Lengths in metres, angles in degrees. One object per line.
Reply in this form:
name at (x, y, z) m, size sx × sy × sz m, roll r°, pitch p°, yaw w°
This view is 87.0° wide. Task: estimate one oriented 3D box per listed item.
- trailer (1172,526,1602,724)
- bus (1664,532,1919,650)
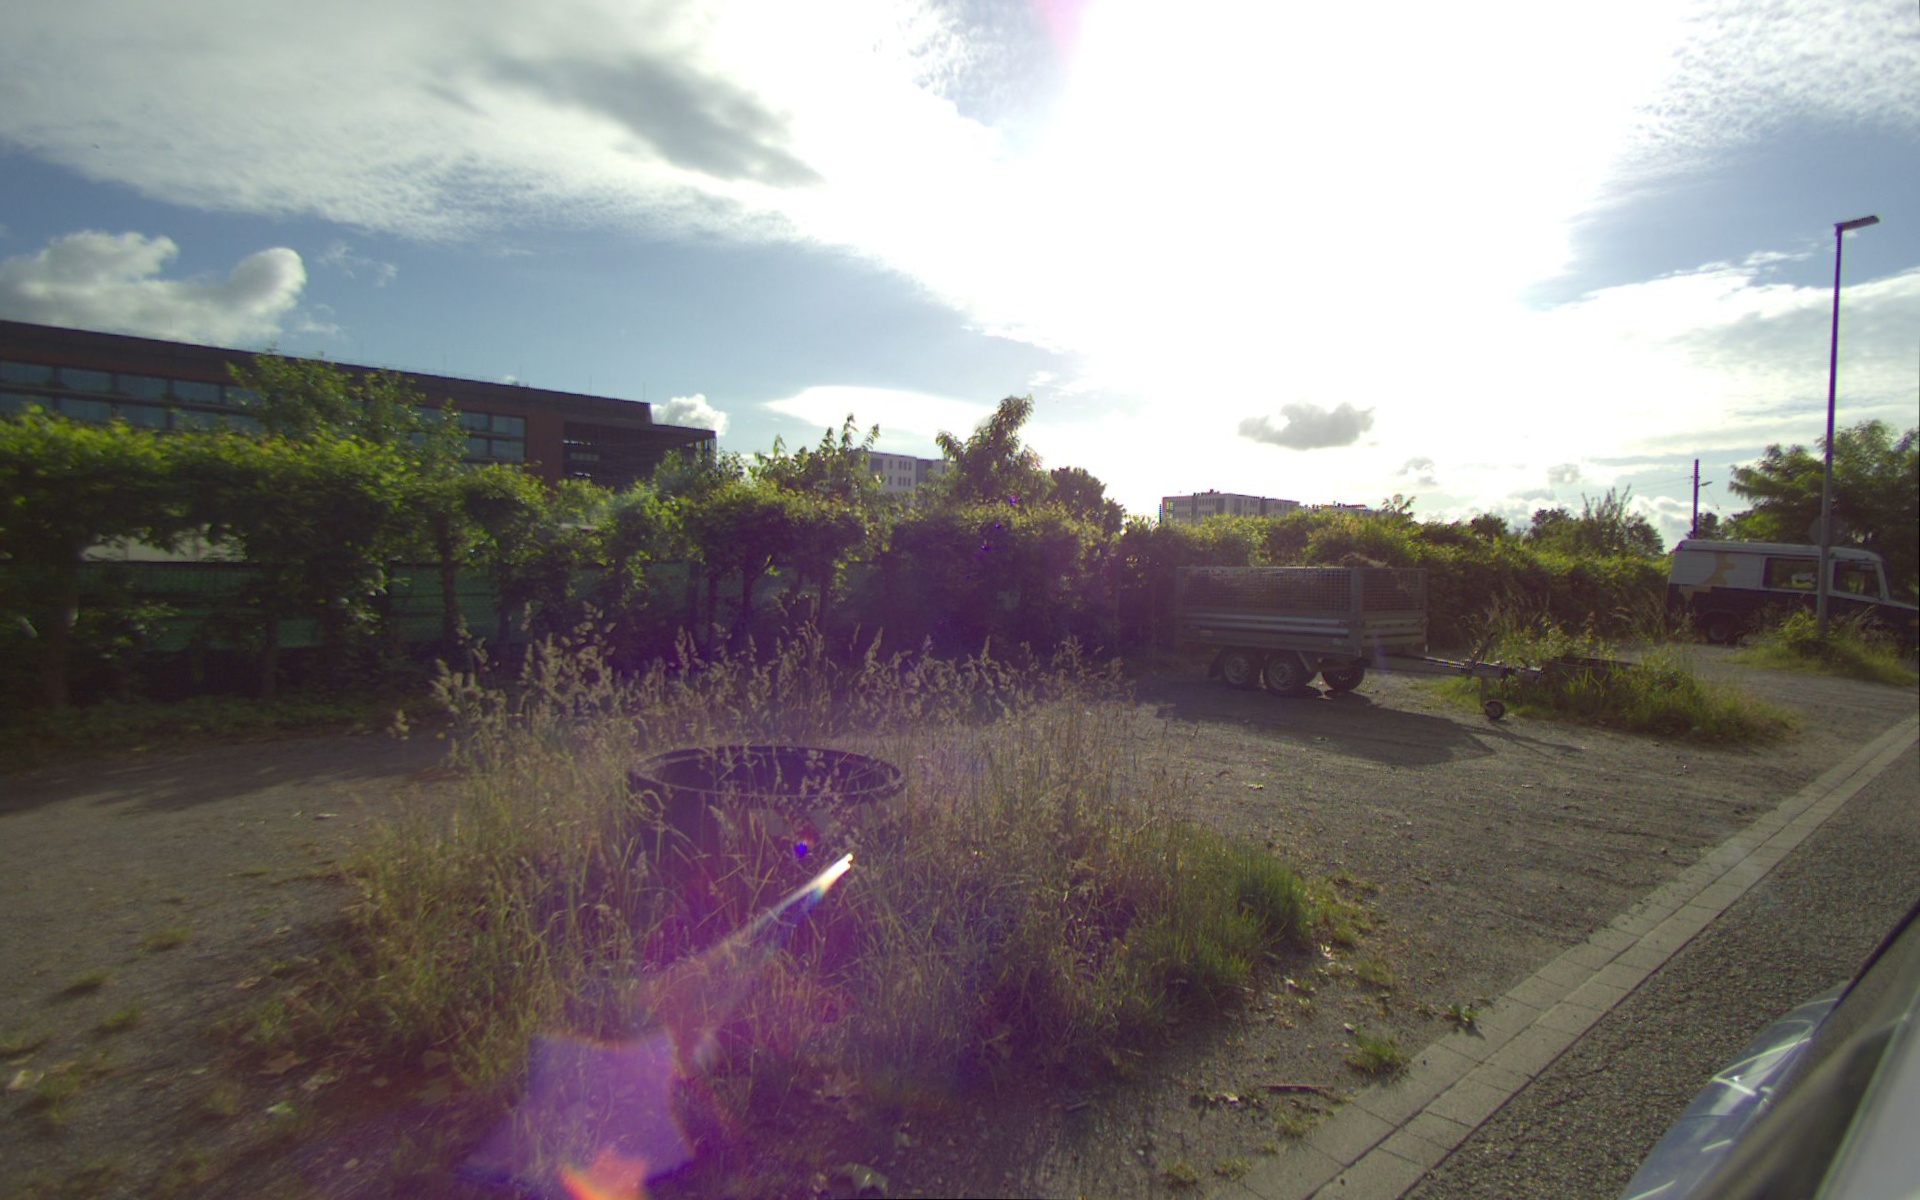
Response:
trailer at (4.700, 0.138, 11.696) m, size 1.881 × 1.857 × 4.165 m, roll 0°, pitch 2°, yaw -37°
bus at (21.815, -0.320, 26.334) m, size 2.034 × 2.781 × 5.371 m, roll 1°, pitch 2°, yaw -44°
